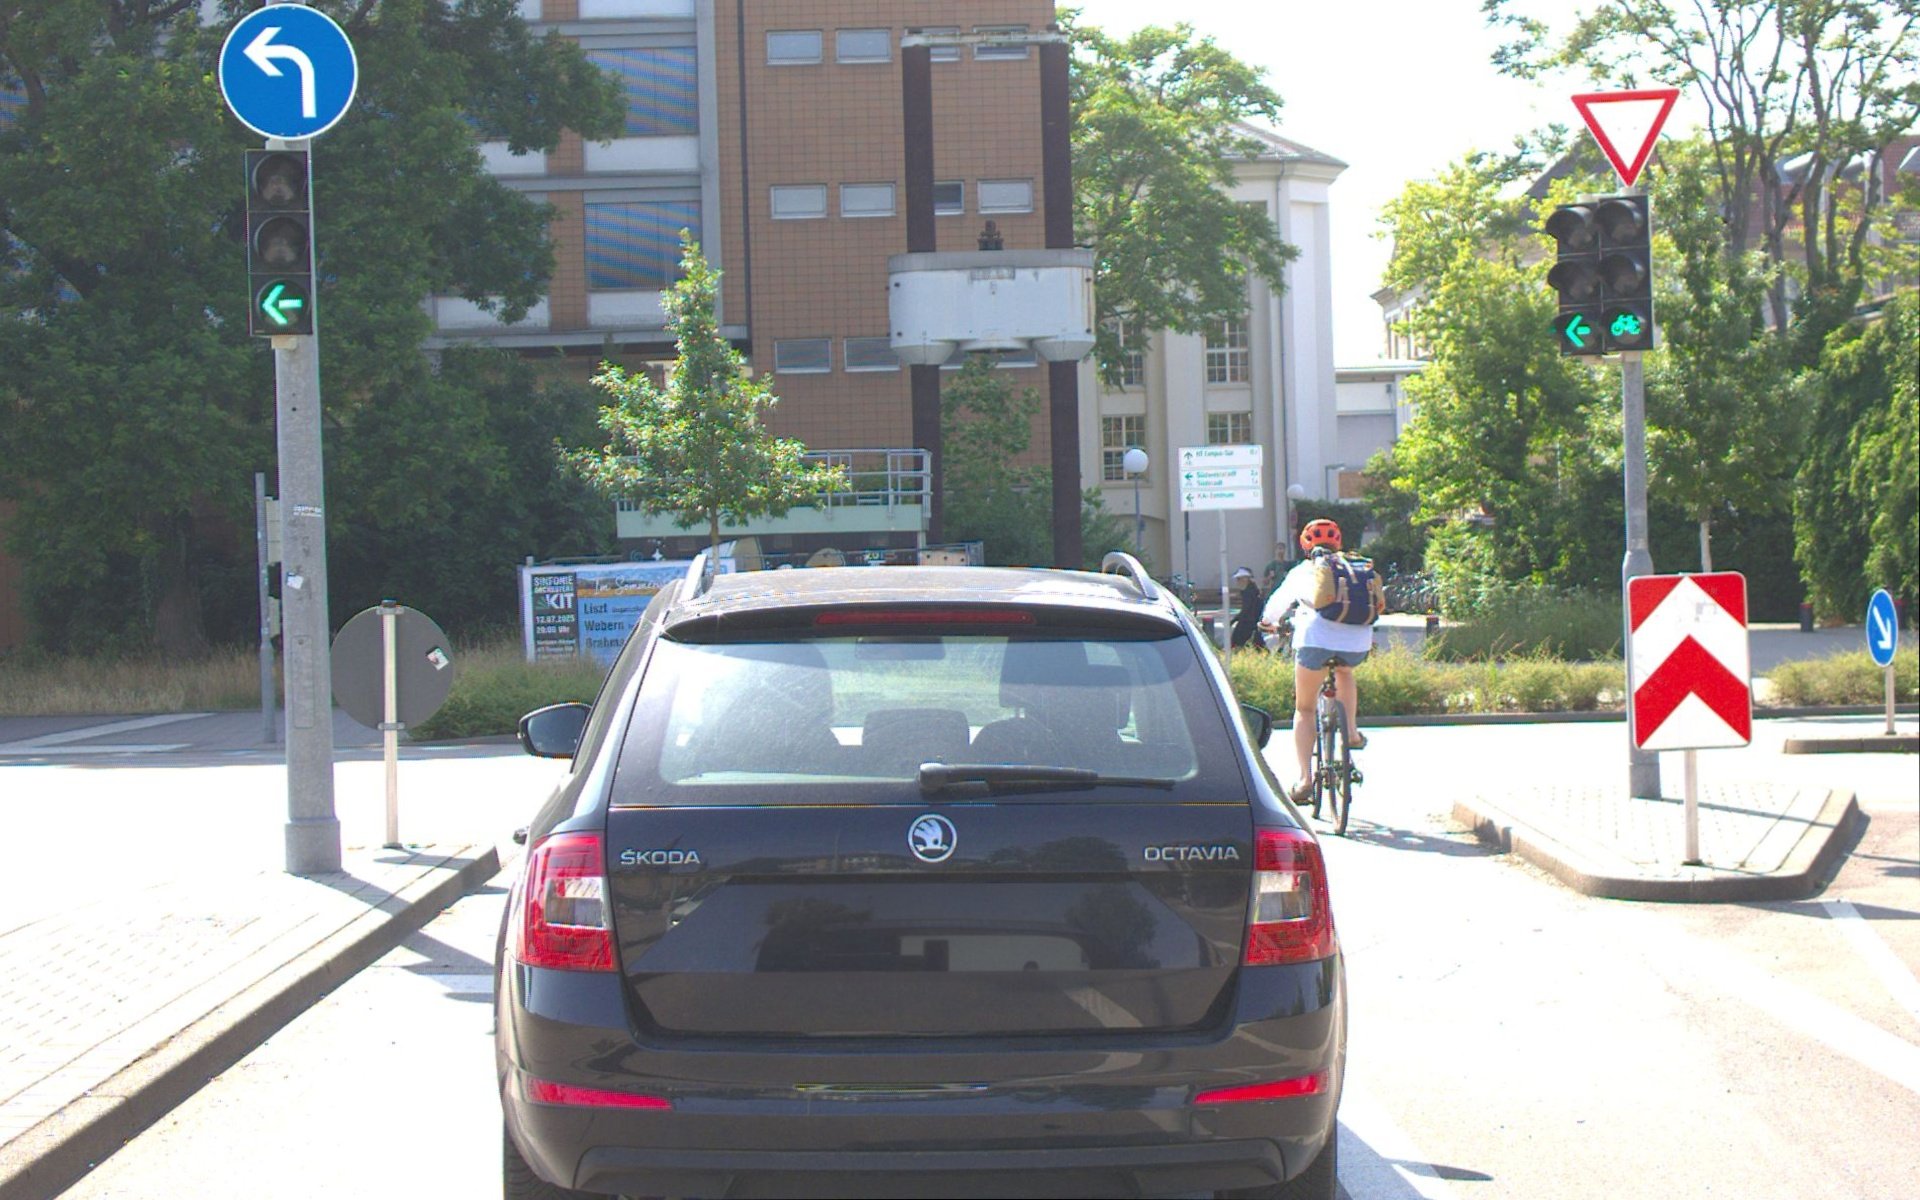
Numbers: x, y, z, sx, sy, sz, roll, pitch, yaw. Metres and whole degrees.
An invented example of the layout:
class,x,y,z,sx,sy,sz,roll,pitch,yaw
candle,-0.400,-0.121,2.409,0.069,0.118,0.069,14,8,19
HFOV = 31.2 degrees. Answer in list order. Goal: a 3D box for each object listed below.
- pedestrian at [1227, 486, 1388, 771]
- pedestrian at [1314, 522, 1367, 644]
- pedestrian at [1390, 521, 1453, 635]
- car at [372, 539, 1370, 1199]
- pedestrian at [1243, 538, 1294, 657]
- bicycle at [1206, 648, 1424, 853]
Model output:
class,x,y,z,sx,sy,sz,roll,pitch,yaw
pedestrian,1.831,0.144,18.209,0.583,1.461,1.014,0,0,-10
pedestrian,5.970,-0.267,53.984,0.637,1.868,0.796,-3,1,-1
pedestrian,7.764,-0.374,57.839,0.795,1.868,0.638,-3,1,25
car,-0.164,0.590,8.051,1.780,1.438,3.818,0,1,0
pedestrian,4.954,-0.043,55.148,0.597,1.868,0.638,-2,1,23
bicycle,1.853,0.767,18.261,0.596,0.928,2.029,0,2,-11
